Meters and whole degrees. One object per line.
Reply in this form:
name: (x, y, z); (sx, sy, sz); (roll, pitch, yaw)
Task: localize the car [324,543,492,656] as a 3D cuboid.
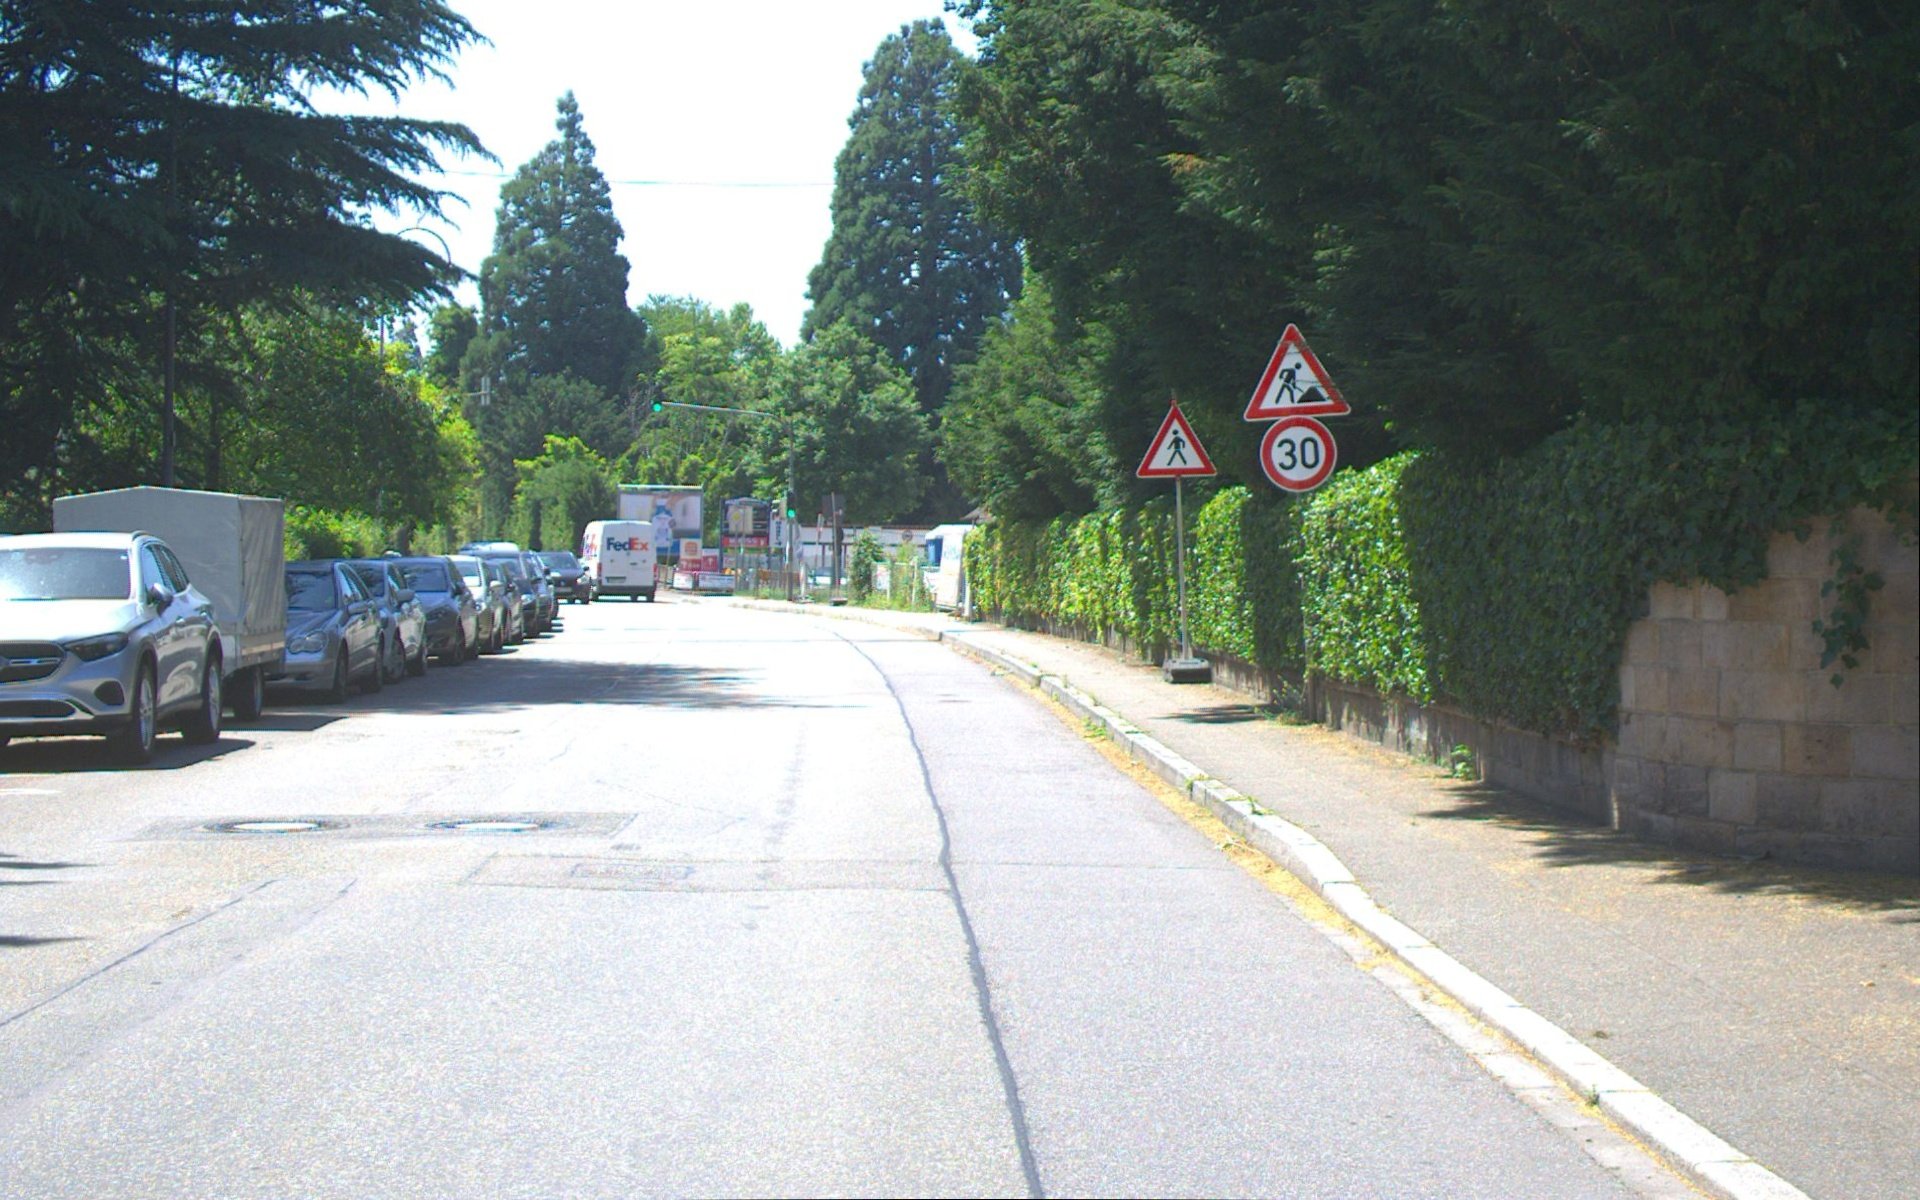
car: (-7.468, -0.036, 46.832); (1.688, 1.439, 4.136); (0, 1, -1)

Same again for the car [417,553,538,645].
car: (-8.069, -0.044, 57.722); (1.689, 1.444, 4.001); (0, 1, -3)

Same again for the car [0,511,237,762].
car: (-6.665, 0.223, 25.428); (1.850, 1.665, 4.713); (-1, 1, -3)

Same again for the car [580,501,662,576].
car: (-10.873, -1.971, 110.027); (2.143, 2.307, 4.854); (-1, 1, -11)

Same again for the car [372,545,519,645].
car: (-7.750, -0.112, 52.060); (1.688, 1.439, 4.136); (0, 1, -1)

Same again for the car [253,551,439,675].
car: (-7.188, 0.113, 40.563); (1.582, 1.385, 3.883); (0, 1, -1)

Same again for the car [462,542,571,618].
car: (-8.724, -0.413, 67.863); (1.688, 1.439, 4.136); (0, 1, -1)

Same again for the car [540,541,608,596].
car: (-11.377, -0.954, 101.457); (1.852, 1.579, 4.136); (0, 1, -5)

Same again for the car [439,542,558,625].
car: (-8.357, -0.325, 62.479); (1.688, 1.439, 4.136); (0, 1, -1)

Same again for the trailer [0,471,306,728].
trailer: (-6.910, -0.036, 29.854); (1.847, 2.033, 4.164); (-1, 1, -3)

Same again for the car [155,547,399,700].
car: (-6.971, 0.195, 35.470); (1.709, 1.434, 4.322); (-1, 1, -1)

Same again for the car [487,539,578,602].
car: (-10.069, -0.708, 81.195); (1.688, 1.439, 4.136); (0, 1, -1)
